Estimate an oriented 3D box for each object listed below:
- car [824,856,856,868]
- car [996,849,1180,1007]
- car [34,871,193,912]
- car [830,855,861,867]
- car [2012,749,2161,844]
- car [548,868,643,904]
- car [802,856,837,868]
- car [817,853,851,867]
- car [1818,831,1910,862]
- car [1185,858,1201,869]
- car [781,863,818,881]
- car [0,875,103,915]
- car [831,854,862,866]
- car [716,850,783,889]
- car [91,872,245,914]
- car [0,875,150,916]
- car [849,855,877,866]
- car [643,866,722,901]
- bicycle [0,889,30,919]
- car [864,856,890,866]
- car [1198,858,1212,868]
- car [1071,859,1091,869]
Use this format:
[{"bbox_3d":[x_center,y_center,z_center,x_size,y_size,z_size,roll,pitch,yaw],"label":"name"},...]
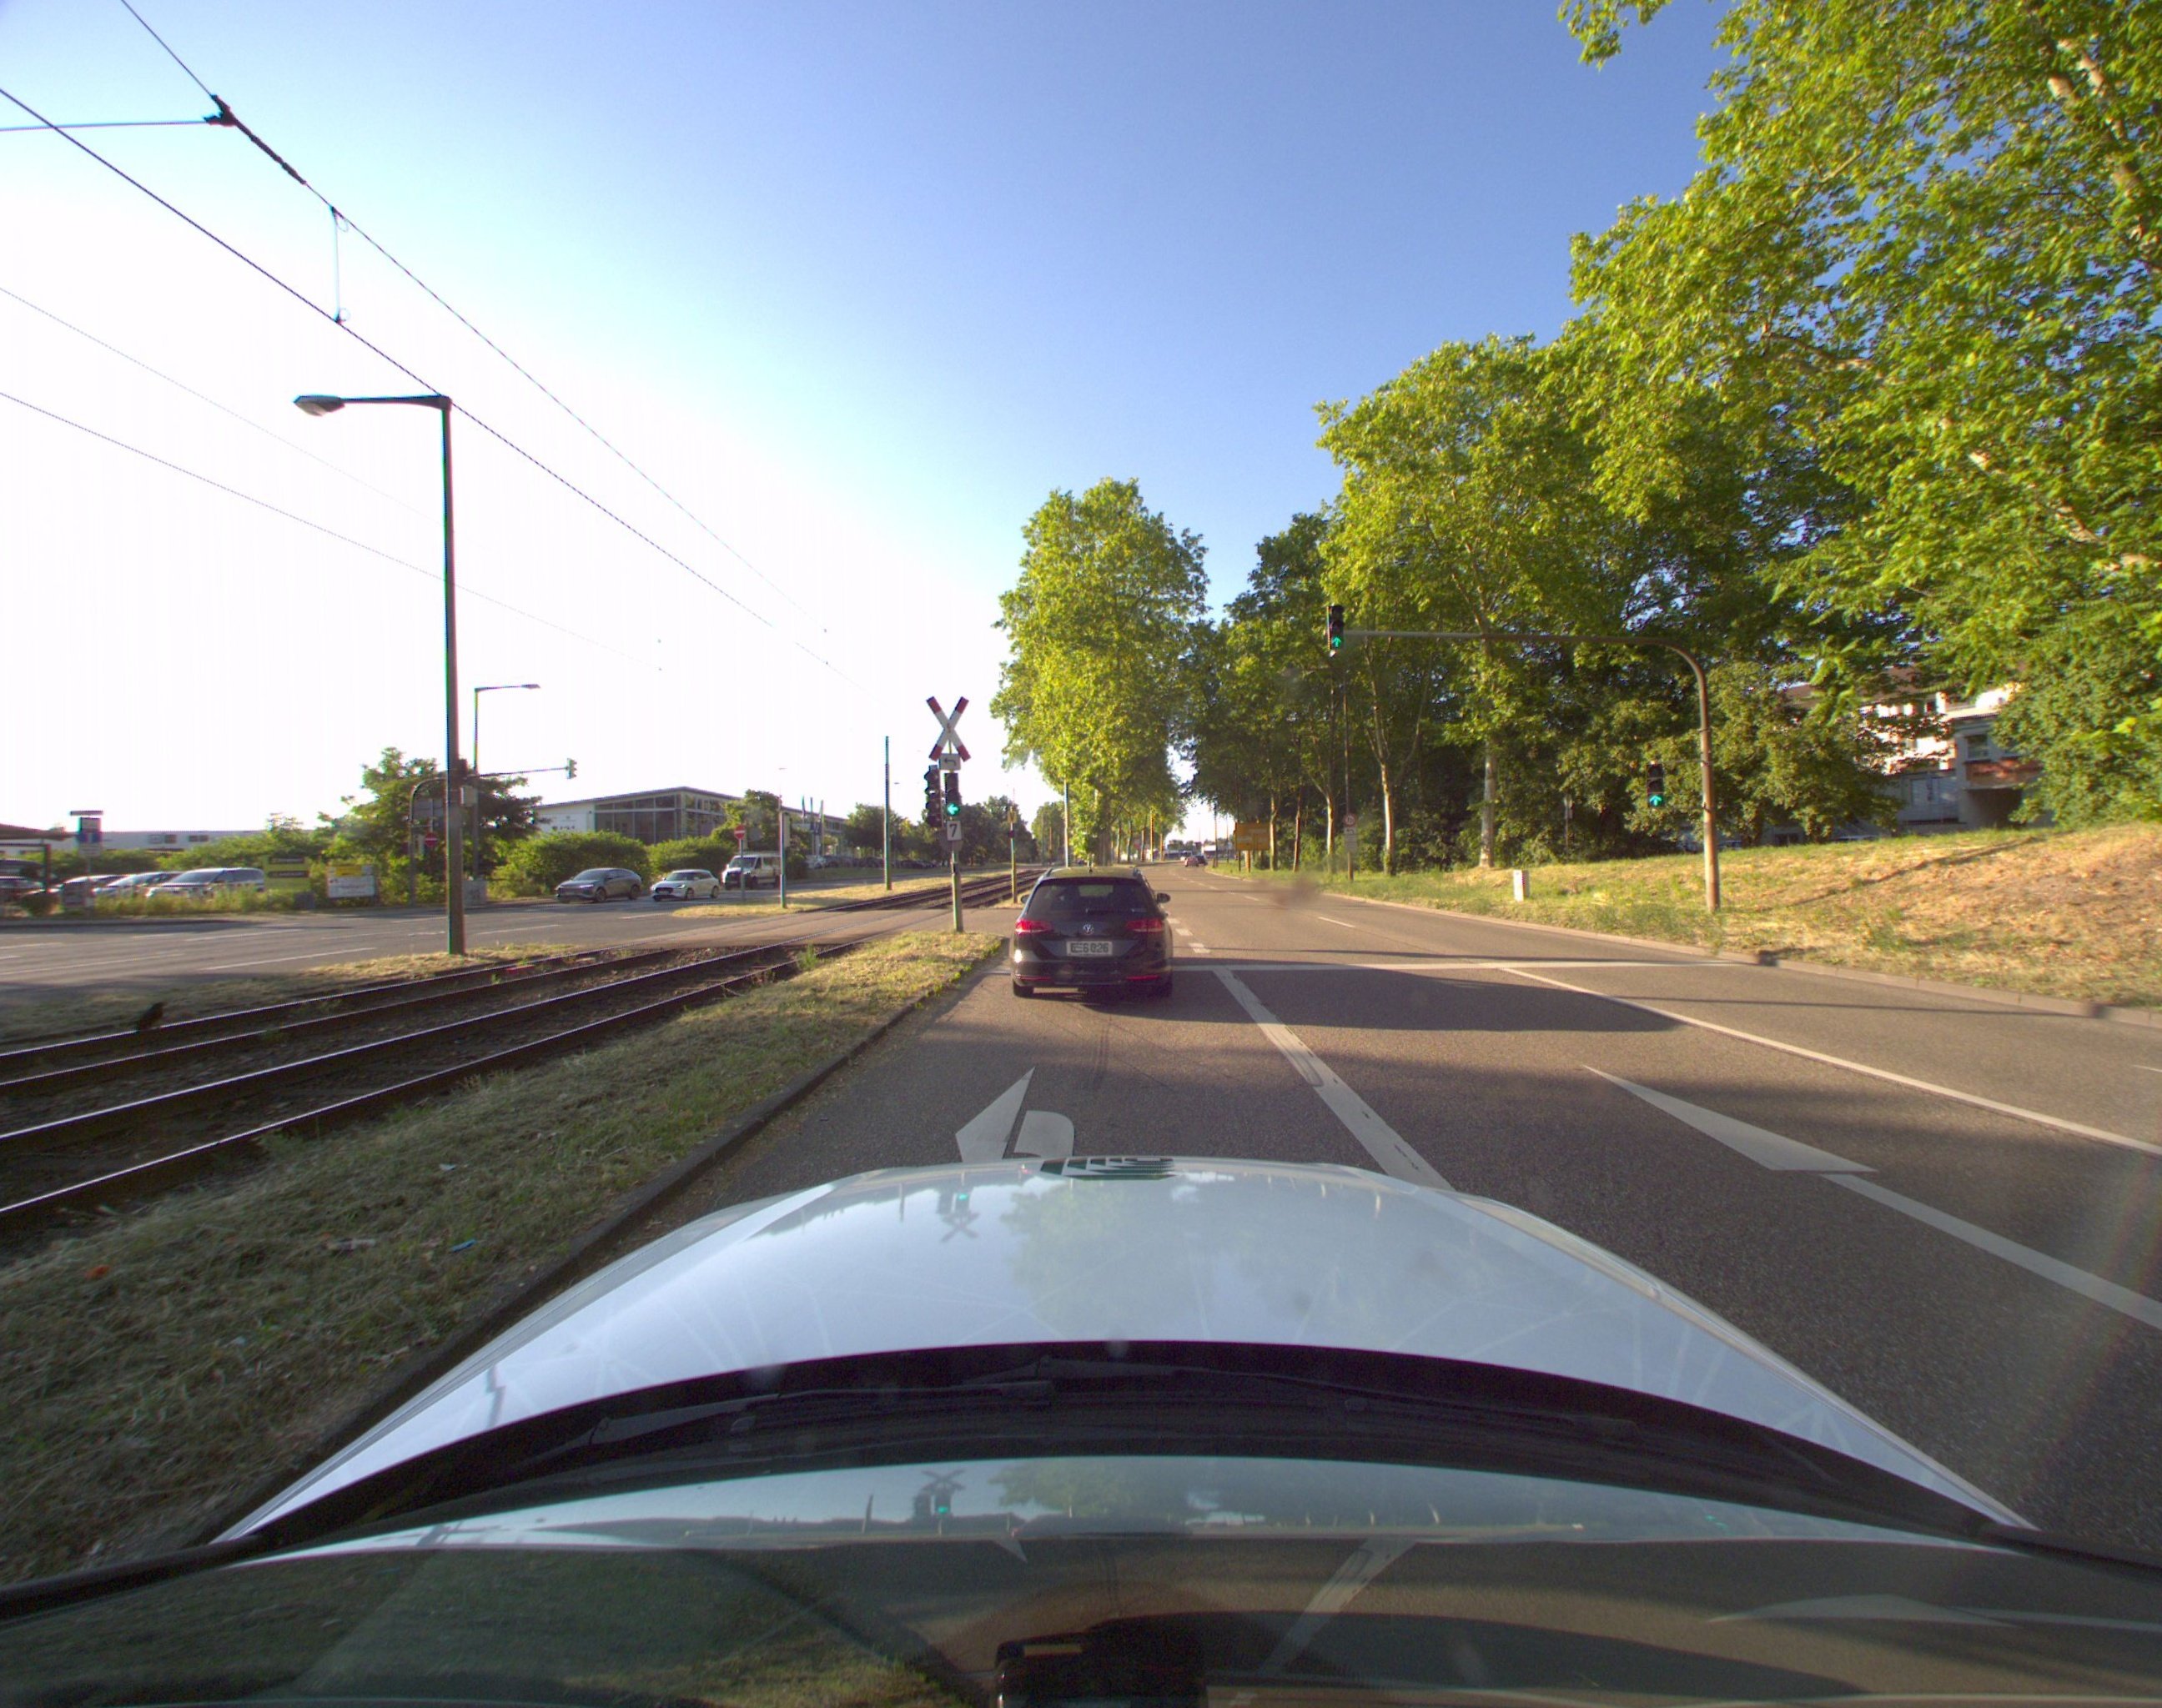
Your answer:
[{"bbox_3d":[-29.852,0.989,100.994,3.796,1.567,1.749,0,-1,-17],"label":"car"},{"bbox_3d":[0.084,0.767,10.226,1.818,1.556,4.258,0,-1,0],"label":"car"},{"bbox_3d":[-42.075,1.572,35.589,2.106,1.648,4.000,0,-1,1],"label":"car"},{"bbox_3d":[-30.894,0.870,106.902,3.796,1.567,1.749,0,-1,-17],"label":"car"},{"bbox_3d":[30.812,-1.618,23.560,1.791,2.513,5.639,-1,-1,7],"label":"car"},{"bbox_3d":[-23.841,1.538,40.222,1.863,1.618,4.549,-1,-1,2],"label":"car"},{"bbox_3d":[-30.286,0.943,94.287,3.796,1.388,1.749,0,-1,-17],"label":"car"},{"bbox_3d":[-29.692,0.741,98.000,3.796,1.567,1.749,0,-1,-17],"label":"car"},{"bbox_3d":[43.993,-0.396,45.791,3.993,1.706,1.909,0,-1,-15],"label":"car"},{"bbox_3d":[15.431,1.263,112.391,1.984,1.442,4.005,-1,-1,5],"label":"car"},{"bbox_3d":[-31.345,1.999,90.645,3.796,1.860,1.749,0,-1,-17],"label":"car"},{"bbox_3d":[-46.688,1.789,35.775,2.106,1.648,4.321,0,-1,1],"label":"car"},{"bbox_3d":[-30.007,0.792,104.131,3.796,1.567,1.749,0,-1,-17],"label":"car"},{"bbox_3d":[-23.052,1.089,56.871,1.995,2.566,5.880,-1,-1,3],"label":"car"},{"bbox_3d":[-39.531,1.651,35.420,2.106,1.648,4.000,0,-1,1],"label":"car"},{"bbox_3d":[-44.525,1.774,35.803,2.106,1.648,4.321,0,-1,1],"label":"car"},{"bbox_3d":[-31.040,0.965,115.861,3.796,1.567,1.749,0,-1,-17],"label":"car"},{"bbox_3d":[-19.781,1.443,40.594,1.863,1.618,4.001,-1,-1,2],"label":"car"},{"bbox_3d":[-39.157,1.814,29.158,0.540,1.038,1.895,-1,-1,3],"label":"bicycle"},{"bbox_3d":[-30.565,1.048,122.027,3.796,1.567,1.749,0,-1,-17],"label":"car"},{"bbox_3d":[18.676,1.317,122.623,1.981,1.440,4.012,-1,-1,11],"label":"car"},{"bbox_3d":[0.057,1.752,139.650,1.792,1.684,4.023,-1,-1,25],"label":"car"}]
